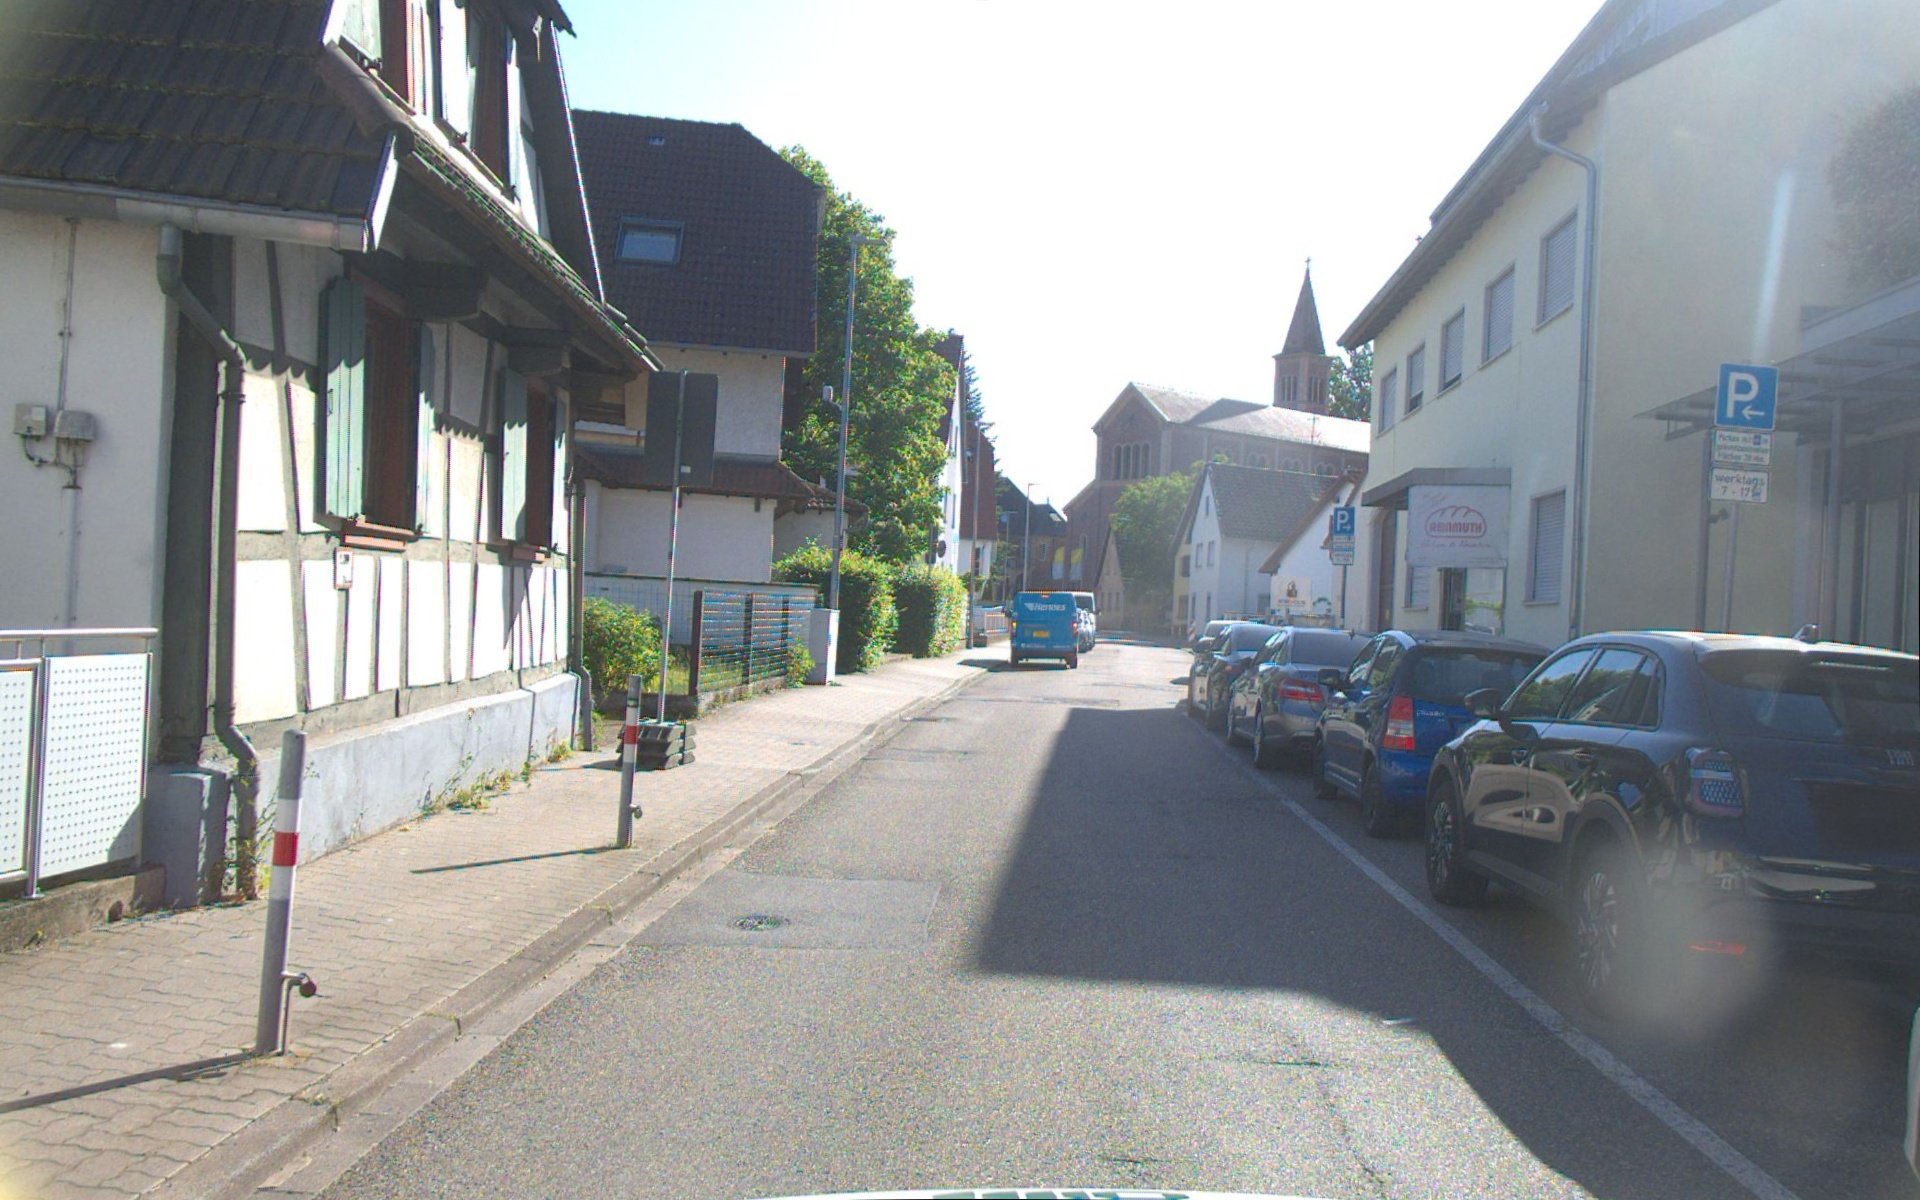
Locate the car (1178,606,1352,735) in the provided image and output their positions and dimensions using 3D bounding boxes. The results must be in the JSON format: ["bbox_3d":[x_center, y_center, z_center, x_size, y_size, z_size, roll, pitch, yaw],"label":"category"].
[{"bbox_3d":[4.209,0.941,23.528,1.771,1.501,4.846,4,-1,4],"label":"car"}]

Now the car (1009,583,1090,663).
[{"bbox_3d":[2.430,0.597,43.973,1.862,1.951,5.073,2,0,6],"label":"car"}]

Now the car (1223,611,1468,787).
[{"bbox_3d":[3.963,0.937,17.709,1.771,1.501,4.446,4,0,4],"label":"car"}]

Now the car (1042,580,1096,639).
[{"bbox_3d":[4.818,0.396,72.323,2.150,2.432,6.068,1,0,5],"label":"car"}]

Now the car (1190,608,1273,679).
[{"bbox_3d":[6.571,1.015,40.044,1.773,1.501,4.663,4,0,9],"label":"car"}]

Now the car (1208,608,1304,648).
[{"bbox_3d":[12.425,1.154,69.366,3.829,1.518,1.848,2,-1,14],"label":"car"}]

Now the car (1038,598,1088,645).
[{"bbox_3d":[3.808,0.778,60.685,1.678,1.626,3.927,2,0,5],"label":"car"}]

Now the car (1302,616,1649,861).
[{"bbox_3d":[3.878,0.949,13.111,1.689,1.501,3.877,4,0,4],"label":"car"}]

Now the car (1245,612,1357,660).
[{"bbox_3d":[13.587,1.430,65.854,3.981,1.718,1.899,2,0,-23],"label":"car"}]

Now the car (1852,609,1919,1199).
[{"bbox_3d":[3.081,0.833,2.074,1.807,1.540,4.509,3,0,6],"label":"car"}]

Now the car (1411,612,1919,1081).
[{"bbox_3d":[3.410,0.895,7.707,1.577,1.547,3.972,4,0,2],"label":"car"}]
